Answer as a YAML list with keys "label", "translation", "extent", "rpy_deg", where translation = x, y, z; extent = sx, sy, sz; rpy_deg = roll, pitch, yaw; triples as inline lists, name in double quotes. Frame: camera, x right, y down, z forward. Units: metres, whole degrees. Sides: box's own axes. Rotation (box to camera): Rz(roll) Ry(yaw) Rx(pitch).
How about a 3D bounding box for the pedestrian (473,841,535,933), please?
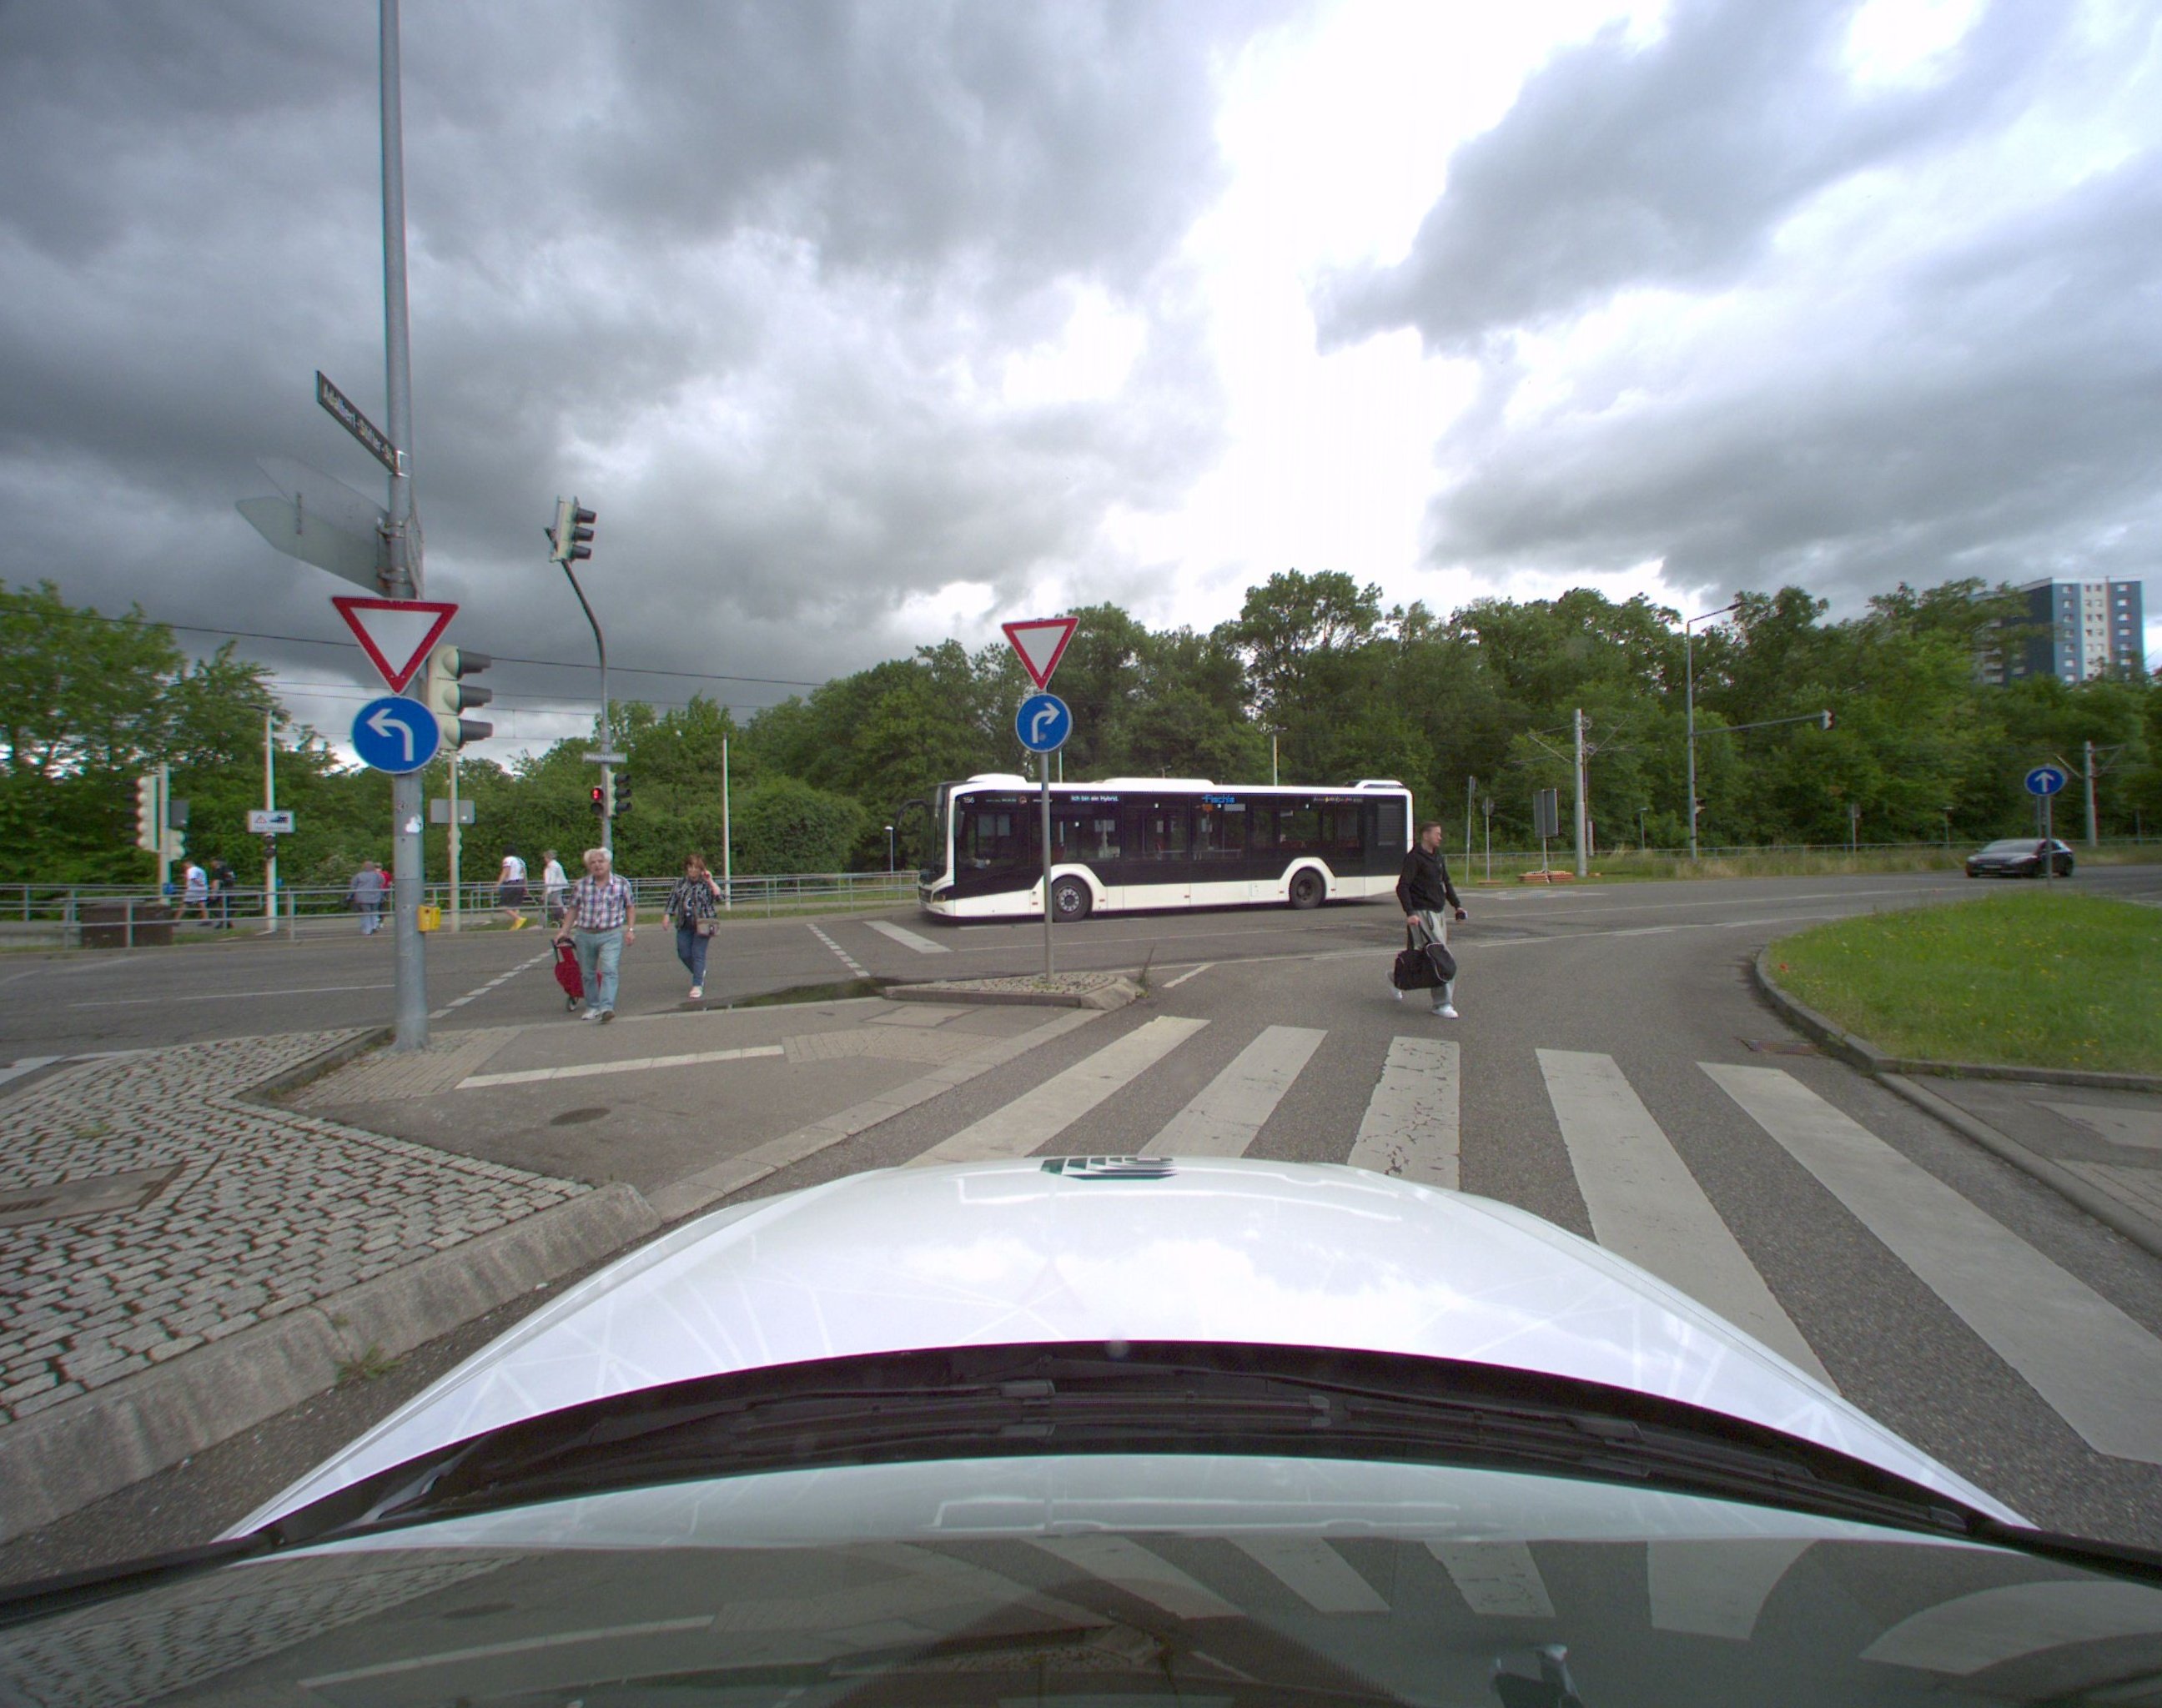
- label: "pedestrian"
  translation: [-11.352, 0.628, 16.051]
  extent: [0.722, 1.748, 0.952]
  rpy_deg: [-1, -1, -17]

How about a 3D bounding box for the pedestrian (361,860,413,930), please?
- label: "pedestrian"
  translation: [-16.604, 0.951, 19.492]
  extent: [0.723, 1.621, 0.799]
  rpy_deg: [-1, -1, -23]

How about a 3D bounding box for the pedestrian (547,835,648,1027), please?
- label: "pedestrian"
  translation: [-4.452, 0.672, 7.487]
  extent: [0.702, 1.633, 0.715]
  rpy_deg: [-2, -2, -34]

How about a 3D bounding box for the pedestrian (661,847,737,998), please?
- label: "pedestrian"
  translation: [-4.192, 0.720, 8.979]
  extent: [0.693, 1.567, 0.727]
  rpy_deg: [-1, -1, -22]

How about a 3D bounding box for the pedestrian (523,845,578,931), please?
- label: "pedestrian"
  translation: [-11.230, 0.697, 17.282]
  extent: [0.722, 1.748, 0.952]
  rpy_deg: [-1, -1, -17]

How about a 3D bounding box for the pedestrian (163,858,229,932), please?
- label: "pedestrian"
  translation: [-21.358, 0.973, 19.666]
  extent: [0.947, 1.748, 0.726]
  rpy_deg: [-1, -1, 17]

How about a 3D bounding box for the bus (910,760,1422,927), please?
- label: "bus"
  translation: [2.358, -0.299, 19.173]
  extent: [12.210, 3.203, 2.655]
  rpy_deg: [-1, 0, -23]

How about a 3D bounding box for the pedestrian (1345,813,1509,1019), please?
- label: "pedestrian"
  translation: [3.152, 0.522, 7.530]
  extent: [0.954, 1.747, 1.058]
  rpy_deg: [-1, -1, -10]

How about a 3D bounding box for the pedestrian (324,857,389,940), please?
- label: "pedestrian"
  translation: [-15.855, 0.950, 17.857]
  extent: [0.961, 1.748, 0.715]
  rpy_deg: [0, -1, -33]

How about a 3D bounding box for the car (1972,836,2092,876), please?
- label: "car"
  translation: [35.849, 0.053, 30.690]
  extent: [4.434, 1.434, 1.747]
  rpy_deg: [-1, 0, -24]
